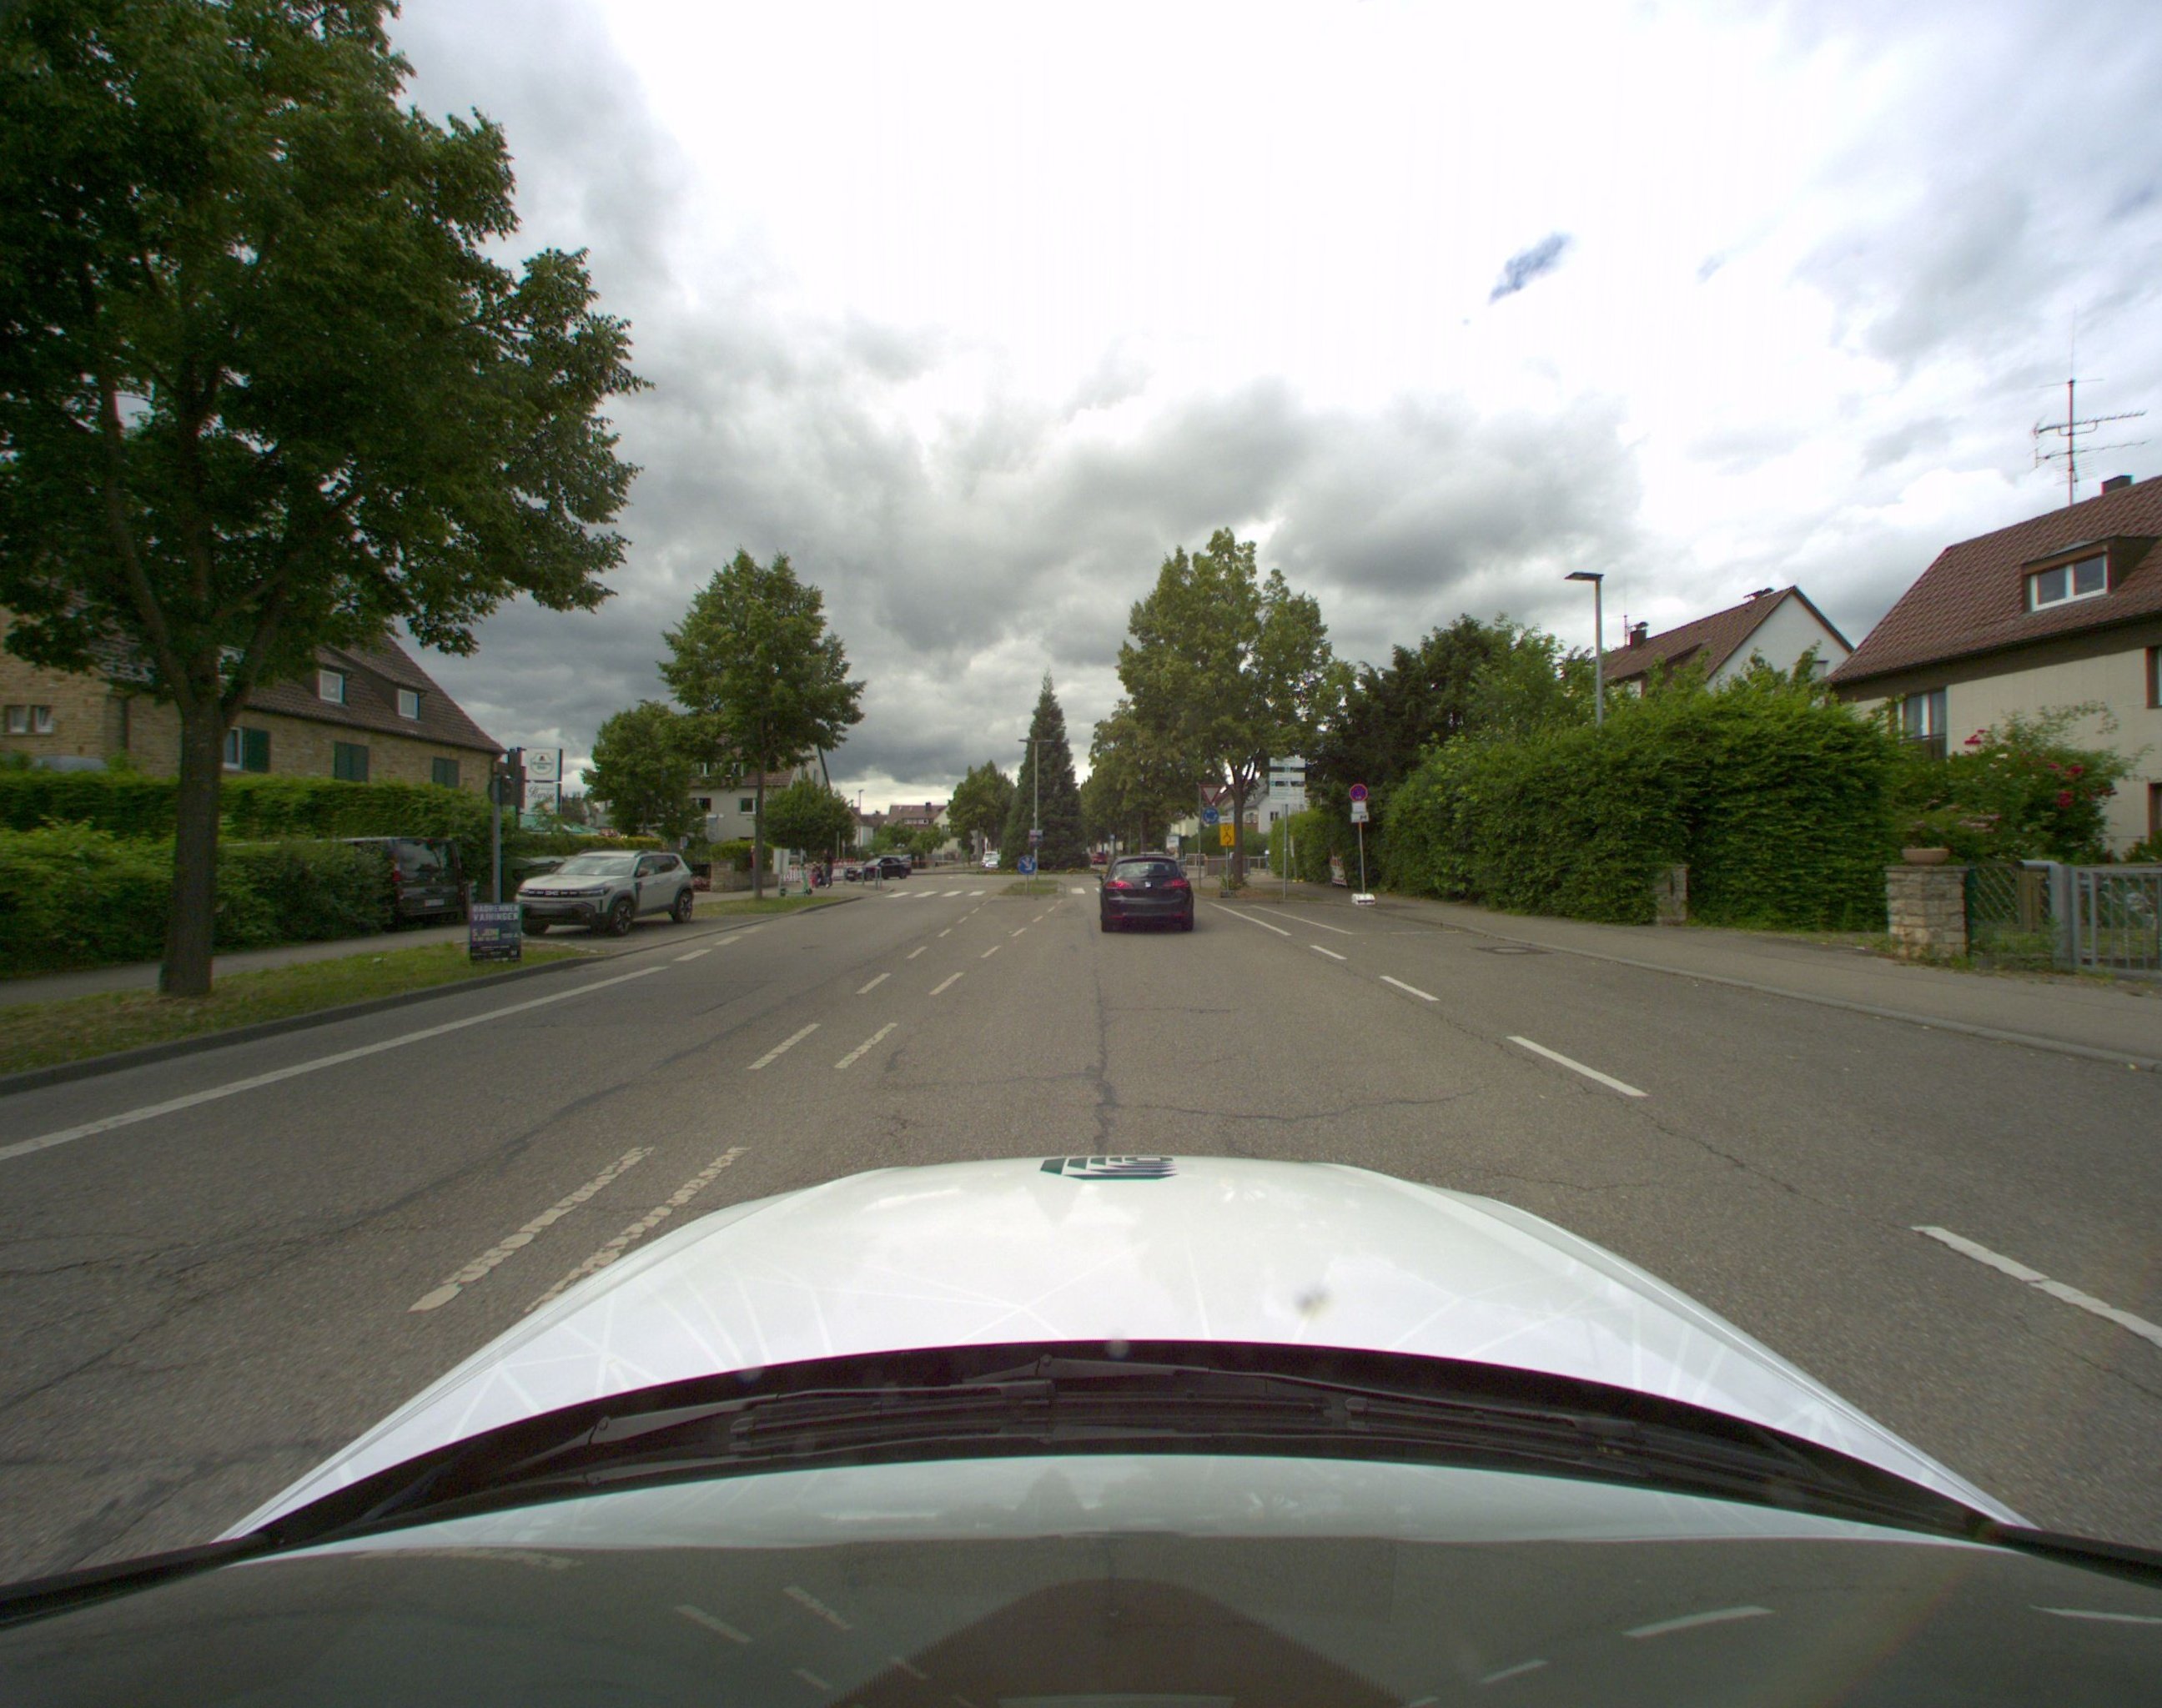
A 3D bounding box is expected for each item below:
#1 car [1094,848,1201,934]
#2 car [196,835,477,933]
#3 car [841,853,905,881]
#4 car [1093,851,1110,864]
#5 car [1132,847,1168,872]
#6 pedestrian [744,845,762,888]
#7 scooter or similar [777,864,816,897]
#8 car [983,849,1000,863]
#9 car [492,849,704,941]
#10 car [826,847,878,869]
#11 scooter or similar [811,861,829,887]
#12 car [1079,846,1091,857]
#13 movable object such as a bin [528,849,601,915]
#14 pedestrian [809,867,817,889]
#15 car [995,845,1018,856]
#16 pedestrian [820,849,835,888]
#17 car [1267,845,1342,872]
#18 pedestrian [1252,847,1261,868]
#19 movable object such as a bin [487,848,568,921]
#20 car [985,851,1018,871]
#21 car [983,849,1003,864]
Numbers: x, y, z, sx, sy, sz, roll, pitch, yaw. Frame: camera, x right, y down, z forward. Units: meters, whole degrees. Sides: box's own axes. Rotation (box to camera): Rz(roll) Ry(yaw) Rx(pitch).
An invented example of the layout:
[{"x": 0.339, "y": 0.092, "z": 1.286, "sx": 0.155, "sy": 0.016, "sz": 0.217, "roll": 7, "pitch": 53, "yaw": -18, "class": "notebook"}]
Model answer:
[{"x": 1.216, "y": 0.649, "z": 16.470, "sx": 1.727, "sy": 1.486, "sz": 3.998, "roll": -1, "pitch": 0, "yaw": -1, "class": "car"}, {"x": -15.397, "y": 0.582, "z": 17.036, "sx": 3.974, "sy": 1.891, "sz": 2.000, "roll": -1, "pitch": 0, "yaw": 0, "class": "car"}, {"x": -12.538, "y": 0.759, "z": 49.294, "sx": 1.553, "sy": 1.634, "sz": 3.645, "roll": -1, "pitch": 0, "yaw": 31, "class": "car"}, {"x": 2.395, "y": 0.408, "z": 95.874, "sx": 1.475, "sy": 1.489, "sz": 3.370, "roll": -1, "pitch": 0, "yaw": -10, "class": "car"}, {"x": 4.481, "y": 0.346, "z": 53.526, "sx": 1.987, "sy": 1.613, "sz": 3.999, "roll": 0, "pitch": 0, "yaw": 0, "class": "car"}, {"x": -13.750, "y": 0.529, "z": 34.153, "sx": 0.565, "sy": 1.784, "sz": 0.534, "roll": -1, "pitch": 0, "yaw": -40, "class": "pedestrian"}, {"x": -10.226, "y": 0.928, "z": 29.298, "sx": 1.292, "sy": 1.138, "sz": 0.344, "roll": -1, "pitch": 0, "yaw": -32, "class": "scooter or similar"}, {"x": -12.383, "y": 0.262, "z": 112.404, "sx": 2.025, "sy": 1.970, "sz": 3.996, "roll": -1, "pitch": 0, "yaw": -2, "class": "car"}, {"x": -9.698, "y": 0.730, "z": 16.829, "sx": 1.855, "sy": 1.653, "sz": 4.292, "roll": 0, "pitch": 0, "yaw": -1, "class": "car"}, {"x": -18.282, "y": 0.307, "z": 65.123, "sx": 3.573, "sy": 1.611, "sz": 1.601, "roll": -1, "pitch": 0, "yaw": 3, "class": "car"}, {"x": -11.487, "y": 0.881, "z": 35.801, "sx": 0.409, "sy": 1.095, "sz": 0.959, "roll": 2, "pitch": -1, "yaw": -38, "class": "scooter or similar"}, {"x": 0.546, "y": -0.337, "z": 117.699, "sx": 1.591, "sy": 1.510, "sz": 3.597, "roll": -1, "pitch": 0, "yaw": -2, "class": "car"}, {"x": -13.357, "y": 0.706, "z": 21.108, "sx": 1.202, "sy": 1.651, "sz": 0.997, "roll": 2, "pitch": 0, "yaw": -3, "class": "movable object such as a bin"}, {"x": -11.132, "y": 1.001, "z": 33.801, "sx": 0.240, "sy": 0.894, "sz": 0.257, "roll": -1, "pitch": 0, "yaw": -32, "class": "pedestrian"}, {"x": -14.521, "y": -0.639, "z": 159.433, "sx": 3.954, "sy": 1.970, "sz": 2.046, "roll": -1, "pitch": 0, "yaw": 18, "class": "car"}, {"x": -10.989, "y": 0.644, "z": 35.322, "sx": 0.485, "sy": 1.669, "sz": 0.510, "roll": -1, "pitch": 0, "yaw": -34, "class": "pedestrian"}, {"x": 14.396, "y": 0.276, "z": 52.589, "sx": 4.383, "sy": 1.661, "sz": 1.650, "roll": 0, "pitch": 0, "yaw": 0, "class": "car"}, {"x": 12.813, "y": 0.246, "z": 59.454, "sx": 0.486, "sy": 1.533, "sz": 0.487, "roll": -1, "pitch": 0, "yaw": 22, "class": "pedestrian"}, {"x": -13.177, "y": 0.707, "z": 19.430, "sx": 1.202, "sy": 1.651, "sz": 0.997, "roll": 2, "pitch": 0, "yaw": -3, "class": "movable object such as a bin"}, {"x": -6.583, "y": 0.530, "z": 67.825, "sx": 1.859, "sy": 1.560, "sz": 4.268, "roll": -1, "pitch": 0, "yaw": 7, "class": "car"}, {"x": -10.157, "y": 0.296, "z": 94.232, "sx": 1.792, "sy": 1.601, "sz": 3.999, "roll": -1, "pitch": 0, "yaw": -1, "class": "car"}]
